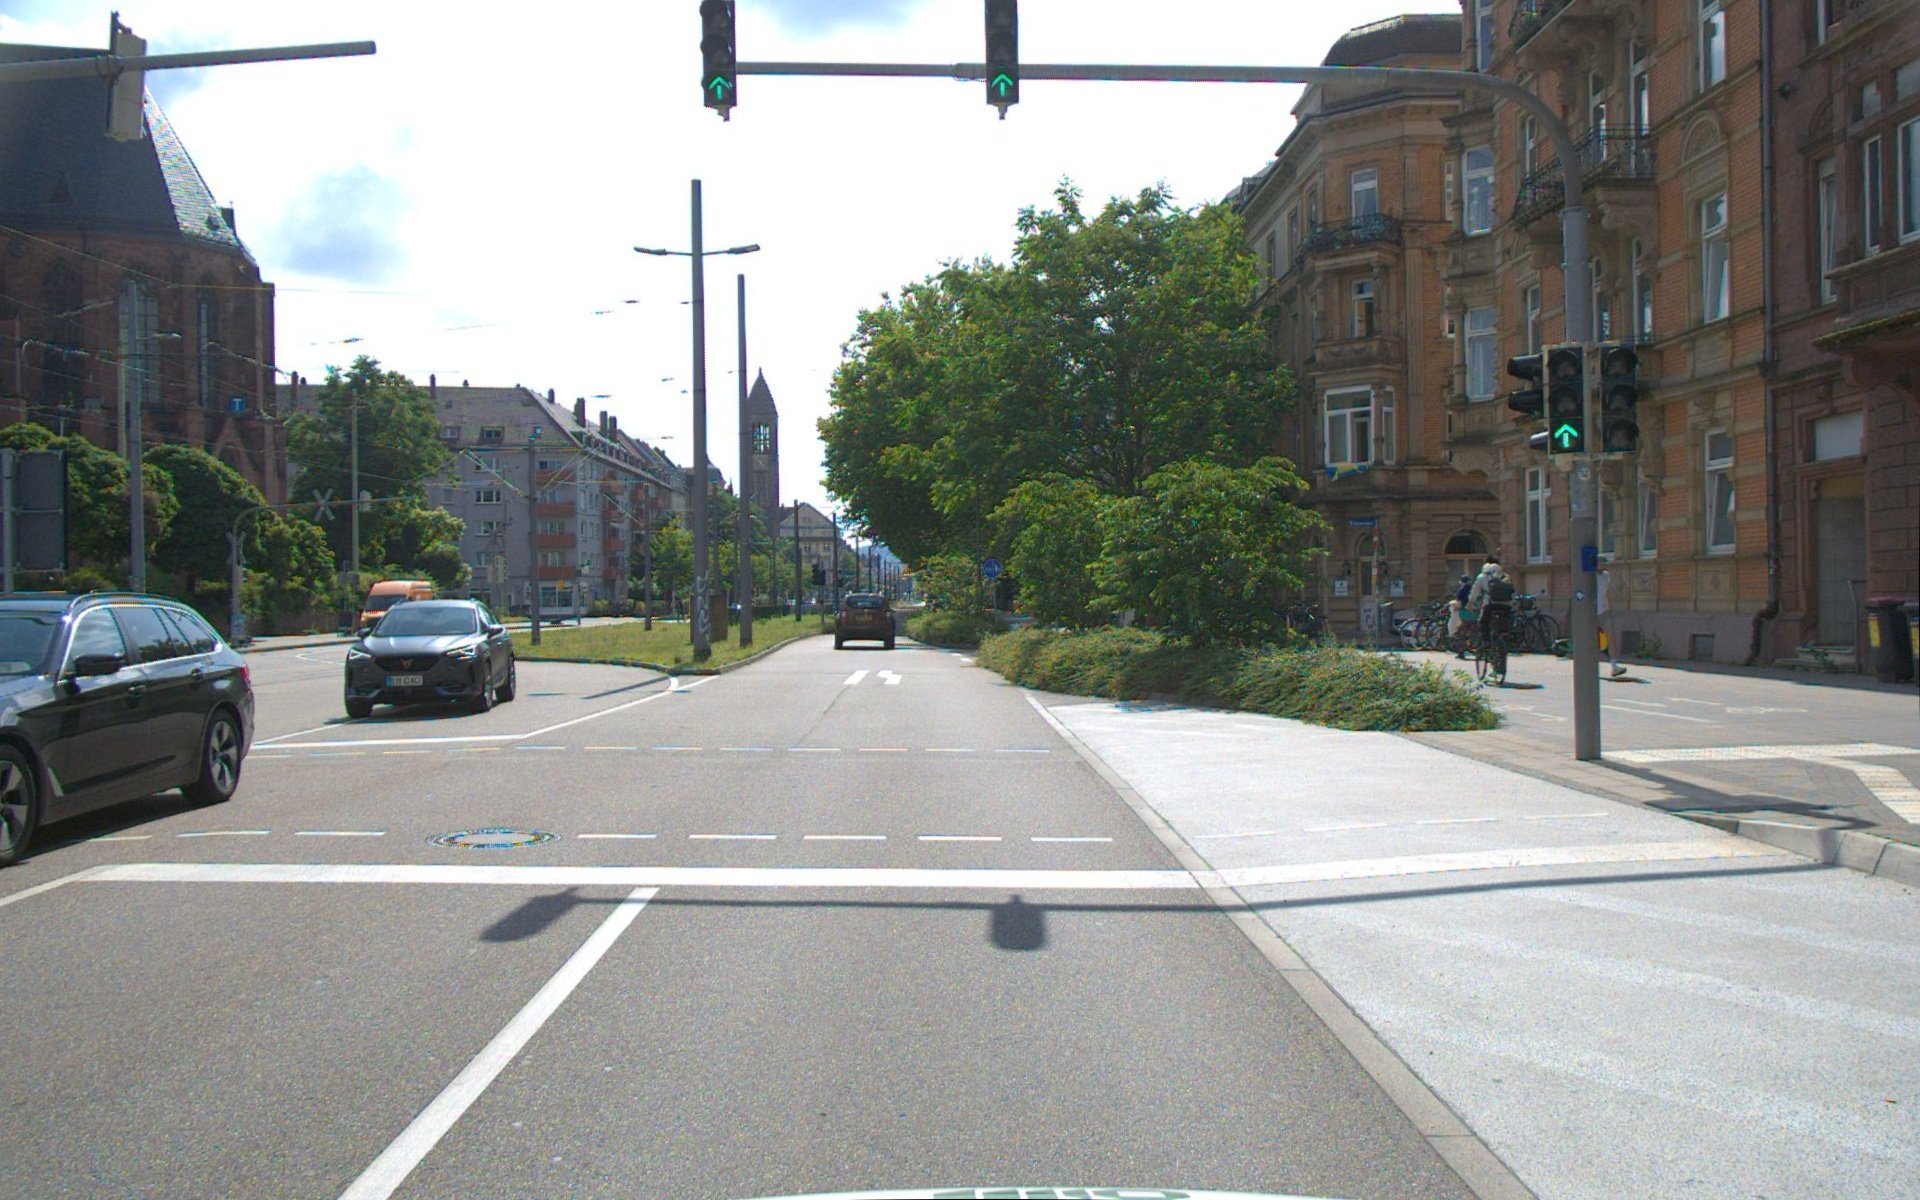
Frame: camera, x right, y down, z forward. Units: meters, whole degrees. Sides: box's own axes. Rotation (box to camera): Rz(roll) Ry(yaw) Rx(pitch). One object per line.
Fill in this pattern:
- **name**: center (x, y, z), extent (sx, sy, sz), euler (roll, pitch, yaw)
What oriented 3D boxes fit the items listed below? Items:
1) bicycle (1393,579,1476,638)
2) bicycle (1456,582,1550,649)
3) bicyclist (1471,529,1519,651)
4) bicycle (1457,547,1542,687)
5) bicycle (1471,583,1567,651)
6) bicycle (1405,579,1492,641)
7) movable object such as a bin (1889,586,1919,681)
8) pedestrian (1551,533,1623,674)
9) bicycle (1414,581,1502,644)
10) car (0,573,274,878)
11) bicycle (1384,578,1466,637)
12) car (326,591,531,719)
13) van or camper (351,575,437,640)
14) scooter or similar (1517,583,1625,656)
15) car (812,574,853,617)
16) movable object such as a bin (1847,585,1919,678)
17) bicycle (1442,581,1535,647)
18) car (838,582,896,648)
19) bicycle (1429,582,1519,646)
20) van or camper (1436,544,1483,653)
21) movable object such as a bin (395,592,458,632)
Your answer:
- **bicycle**: center (10.606, 0.188, 36.981), extent (1.732, 1.290, 0.467), euler (-1, 2, 2)
- **bicycle**: center (10.841, 0.304, 33.033), extent (1.709, 1.290, 0.467), euler (-1, 2, 2)
- **bicyclist**: center (7.828, -0.147, 24.238), extent (0.419, 1.748, 0.828), euler (-1, 1, 0)
- **bicycle**: center (7.847, 0.235, 24.133), extent (0.669, 1.959, 1.589), euler (-1, 0, 0)
- **bicycle**: center (10.962, 0.336, 32.454), extent (1.732, 1.290, 0.467), euler (-1, 2, 2)
- **bicycle**: center (10.601, 0.214, 35.904), extent (1.732, 1.290, 0.467), euler (-1, 2, 2)
- **movable object such as a bin**: center (11.824, 0.393, 19.945), extent (0.769, 1.127, 0.776), euler (-1, 0, -3)
- **pedestrian**: center (9.315, 0.048, 24.602), extent (0.752, 2.049, 0.715), euler (-1, 0, 0)
- **bicycle**: center (10.614, 0.260, 35.281), extent (1.732, 1.290, 0.467), euler (-1, 2, 2)
- **car**: center (-5.971, 0.667, 10.213), extent (1.781, 1.579, 4.557), euler (-1, 0, -4)
- **bicycle**: center (10.568, 0.176, 37.588), extent (1.732, 1.290, 0.467), euler (-1, 2, 2)
- **car**: center (-7.273, 0.687, 23.065), extent (1.764, 1.579, 4.291), euler (-1, 0, -5)
- **van or camper**: center (-25.632, 0.325, 75.155), extent (2.212, 2.785, 6.196), euler (-1, 0, -5)
- **scooter or similar**: center (10.994, 0.348, 29.776), extent (1.733, 1.205, 0.466), euler (-3, -1, -1)
- **car**: center (-6.411, -0.220, 83.699), extent (1.954, 2.049, 3.997), euler (-2, 0, -4)
- **movable object such as a bin**: center (11.791, 0.388, 20.838), extent (0.769, 1.127, 0.776), euler (-1, 0, -3)
- **bicycle**: center (10.764, 0.275, 33.709), extent (1.732, 1.290, 0.467), euler (-1, 2, 2)
- **car**: center (-2.788, 0.418, 49.822), extent (1.655, 1.741, 3.608), euler (-1, 2, -3)
- **bicycle**: center (10.703, 0.286, 34.481), extent (1.732, 1.290, 0.467), euler (-1, 2, 2)
- **van or camper**: center (9.560, -0.024, 31.693), extent (0.652, 2.049, 0.638), euler (-1, 0, -1)
- **movable object such as a bin**: center (-26.201, 0.570, 81.289), extent (2.164, 1.723, 3.713), euler (-1, 3, -6)
